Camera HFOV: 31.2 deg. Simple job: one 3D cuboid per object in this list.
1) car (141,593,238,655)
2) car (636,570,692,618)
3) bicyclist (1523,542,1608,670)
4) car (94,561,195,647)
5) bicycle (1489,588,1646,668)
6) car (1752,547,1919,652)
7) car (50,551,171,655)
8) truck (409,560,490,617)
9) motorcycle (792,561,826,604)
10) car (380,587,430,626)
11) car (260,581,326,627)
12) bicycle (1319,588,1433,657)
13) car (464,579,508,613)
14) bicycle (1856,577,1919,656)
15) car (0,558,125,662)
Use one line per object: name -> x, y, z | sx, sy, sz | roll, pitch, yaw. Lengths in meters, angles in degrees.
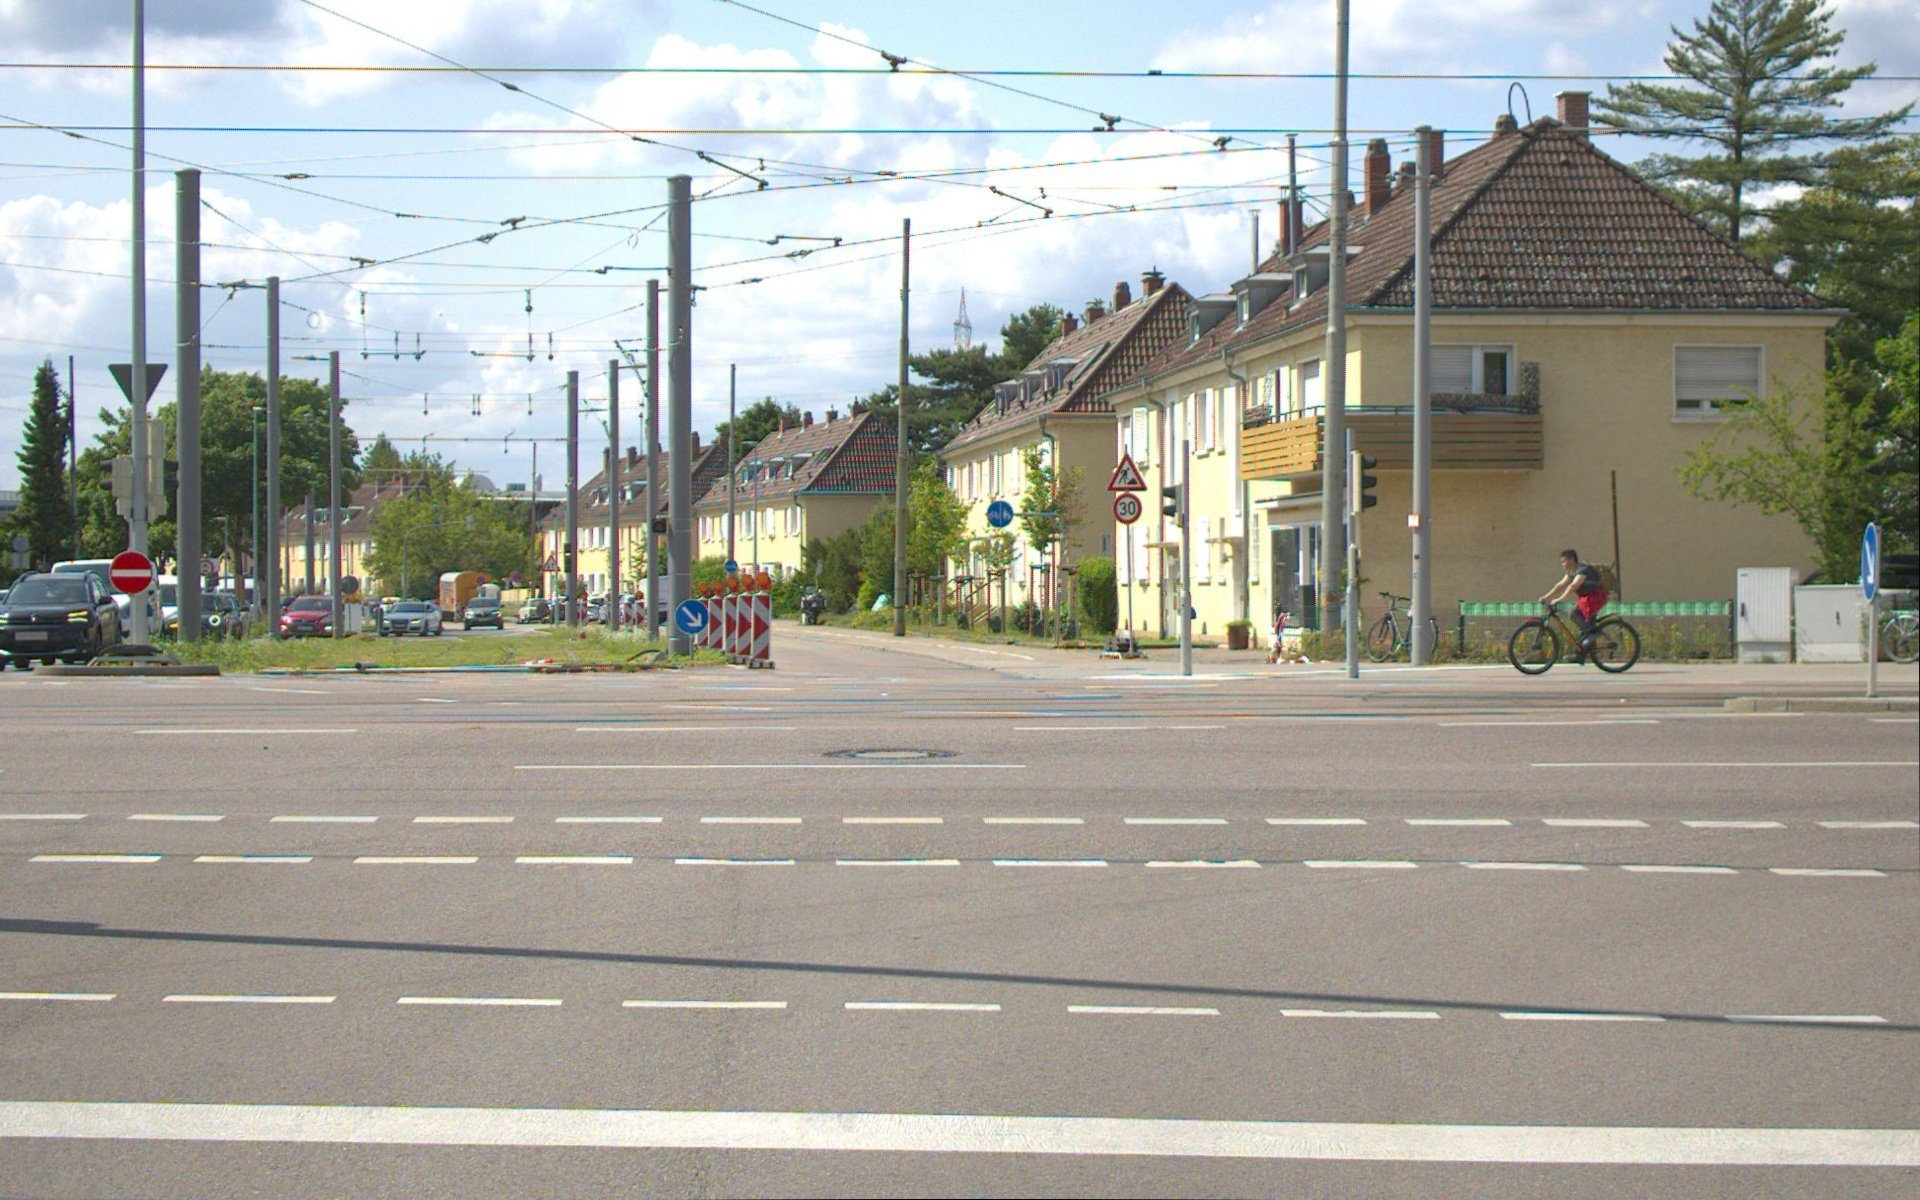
car -> -18.078, 0.548, 80.784 | 1.914, 1.414, 4.001 | 0, 0, -8
car -> -13.558, -0.275, 157.265 | 2.065, 2.142, 4.879 | 0, 0, -10
bicyclist -> 8.436, 0.082, 47.899 | 0.957, 1.769, 0.720 | 0, 0, -12
car -> -17.484, 0.083, 73.835 | 1.732, 1.776, 4.406 | -1, 0, -9
bicycle -> 8.418, 0.382, 47.658 | 2.026, 1.098, 0.715 | 0, 0, -11
car -> 14.422, 0.013, 55.386 | 1.821, 1.615, 4.001 | 0, -1, -10
car -> -16.257, 0.054, 65.964 | 1.814, 1.915, 4.749 | 0, 0, -9
truck -> -32.319, -0.699, 217.520 | 2.640, 3.482, 9.439 | 0, 0, -24
motorcycle -> -5.794, -0.680, 131.996 | 1.066, 1.630, 2.084 | 0, 0, -8
car -> -22.489, 0.255, 139.402 | 1.843, 1.556, 4.188 | 0, 0, -7
car -> -22.211, 0.119, 114.602 | 1.843, 1.489, 4.857 | 0, 0, -7
bicycle -> 6.733, 0.353, 55.700 | 0.593, 1.093, 2.277 | 0, 0, -30
car -> -22.759, -0.198, 165.122 | 1.819, 1.546, 4.001 | 0, 1, -4
bicycle -> 13.679, 0.231, 48.666 | 1.806, 1.101, 0.701 | 0, 0, 39
car -> -15.646, 0.144, 59.548 | 1.786, 1.715, 4.442 | 0, 1, -7
